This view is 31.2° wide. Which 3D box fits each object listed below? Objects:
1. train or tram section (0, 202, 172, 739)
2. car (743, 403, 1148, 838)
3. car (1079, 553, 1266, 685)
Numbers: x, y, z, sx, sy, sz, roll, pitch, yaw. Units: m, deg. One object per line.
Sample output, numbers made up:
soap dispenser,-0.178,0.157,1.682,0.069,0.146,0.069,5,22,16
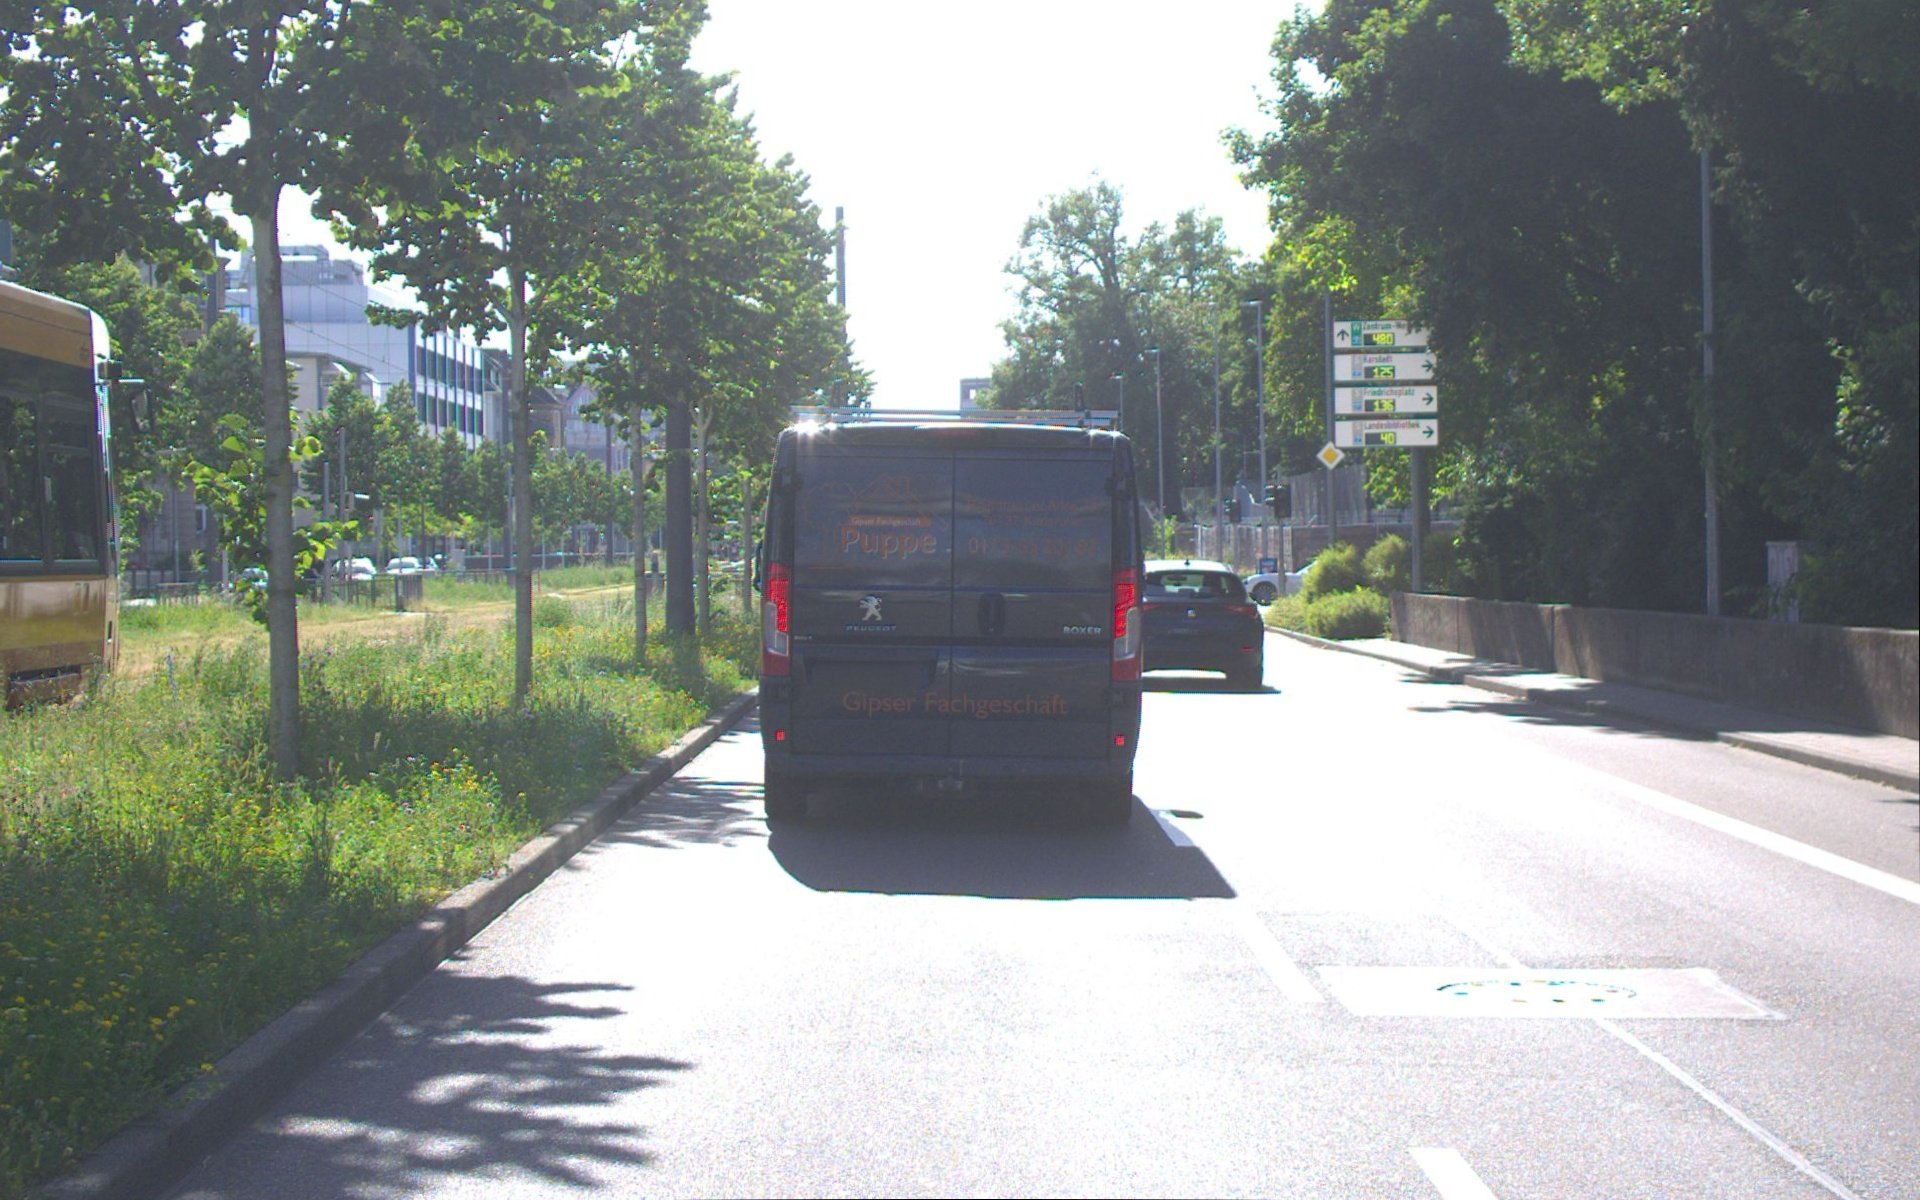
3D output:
train or tram section,-7.534,-0.874,22.777,1.993,3.656,11.684,0,1,0
car,-0.110,0.080,19.802,2.082,2.241,4.000,0,1,-1
car,2.434,0.184,40.265,1.763,1.457,4.000,0,1,-2
